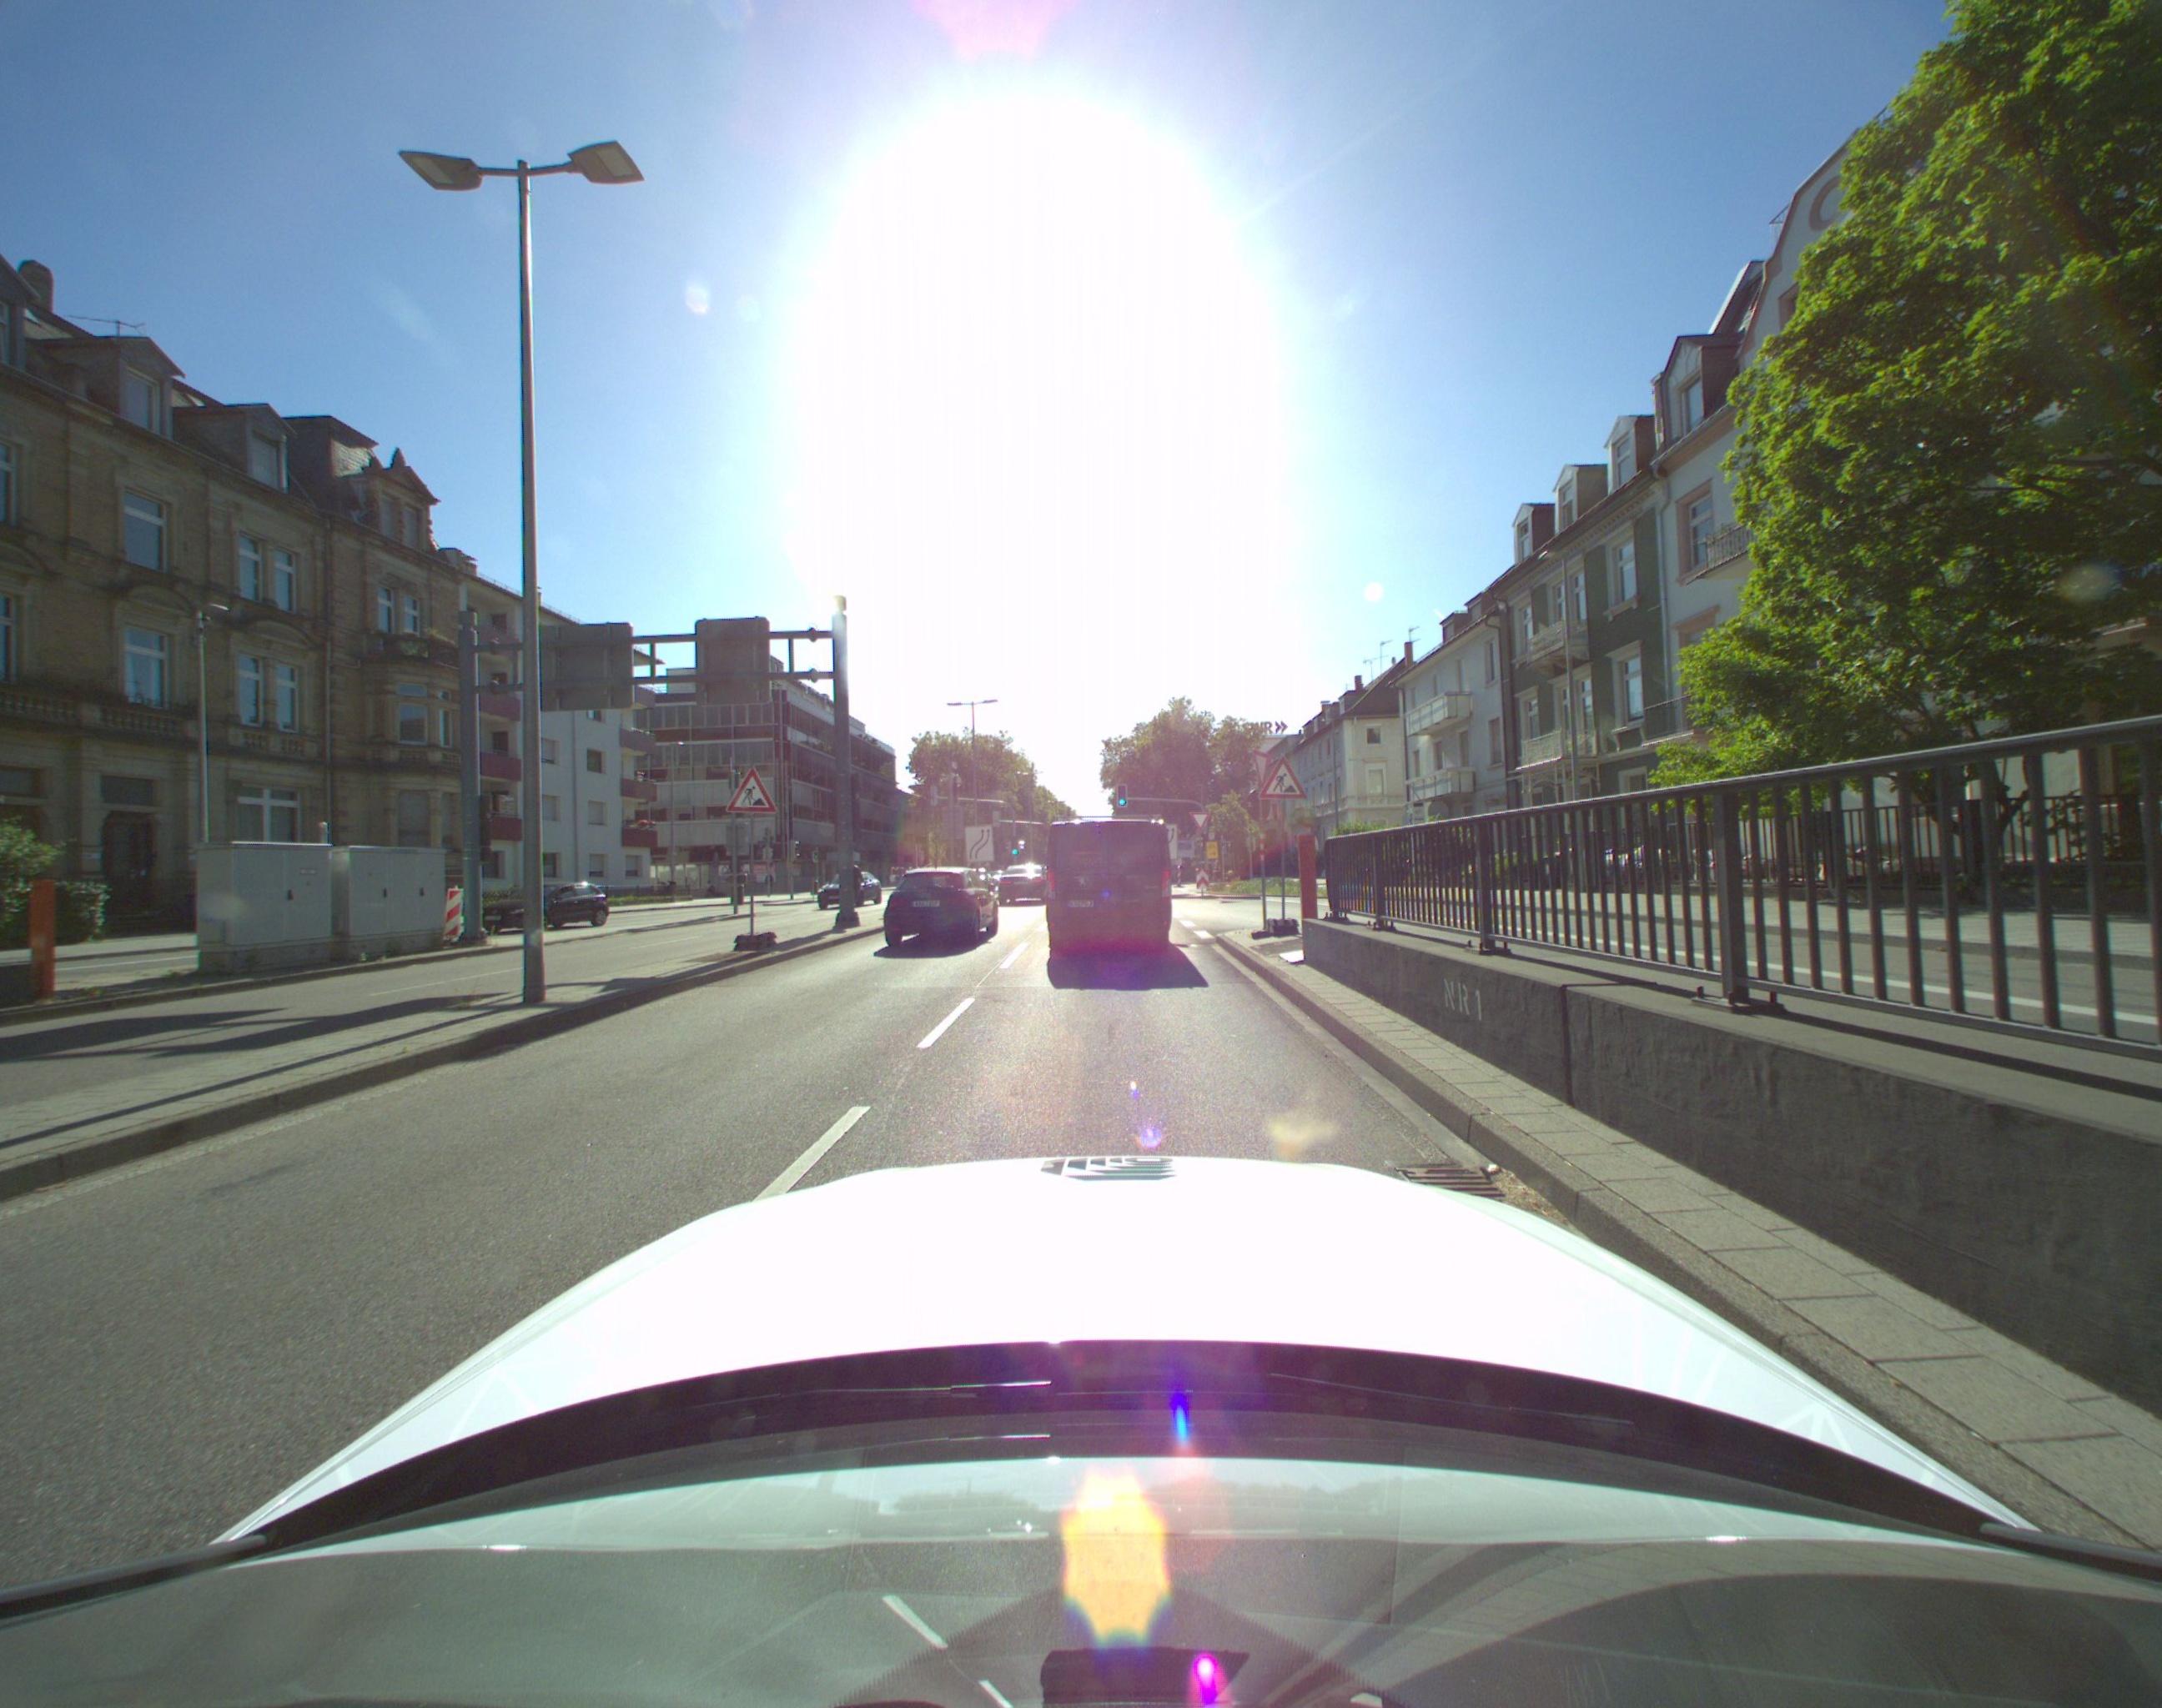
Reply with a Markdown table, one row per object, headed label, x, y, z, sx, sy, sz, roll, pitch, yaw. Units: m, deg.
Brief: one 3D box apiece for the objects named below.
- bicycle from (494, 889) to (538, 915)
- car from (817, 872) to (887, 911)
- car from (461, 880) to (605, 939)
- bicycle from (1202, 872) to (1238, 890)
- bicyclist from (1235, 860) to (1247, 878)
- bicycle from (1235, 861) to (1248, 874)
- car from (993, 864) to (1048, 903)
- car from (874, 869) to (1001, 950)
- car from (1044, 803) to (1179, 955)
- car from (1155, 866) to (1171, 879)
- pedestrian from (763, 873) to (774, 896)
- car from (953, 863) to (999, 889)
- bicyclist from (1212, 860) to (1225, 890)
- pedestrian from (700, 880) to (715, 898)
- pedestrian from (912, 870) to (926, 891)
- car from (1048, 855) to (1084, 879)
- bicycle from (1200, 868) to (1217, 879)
| label | x | y | z | sx | sy | sz | roll | pitch | yaw |
| --- | --- | --- | --- | --- | --- | --- | --- | --- | --- |
| bicycle | -22.519 | 1.894 | 32.512 | 0.303 | 0.958 | 1.941 | -2 | -1 | 3 |
| car | -10.096 | 1.622 | 36.213 | 1.601 | 1.441 | 4.313 | -5 | -1 | 2 |
| car | -16.518 | 1.634 | 24.803 | 1.620 | 1.438 | 3.694 | -3 | 0 | 4 |
| bicycle | 7.968 | 1.545 | 46.800 | 1.955 | 1.025 | 0.605 | 0 | -1 | 1 |
| bicyclist | 14.104 | 1.334 | 71.756 | 0.723 | 1.499 | 0.869 | -2 | -1 | -6 |
| bicycle | 14.117 | 1.188 | 71.753 | 0.687 | 1.098 | 1.683 | -2 | -1 | -6 |
| car | -2.251 | 1.083 | 31.188 | 1.740 | 1.407 | 4.000 | 0 | -1 | 1 |
| car | -2.704 | 1.033 | 16.241 | 1.740 | 1.407 | 4.000 | 0 | -2 | 1 |
| car | 0.549 | 0.415 | 14.809 | 2.087 | 2.355 | 3.934 | -1 | -1 | 2 |
| car | 10.406 | 2.352 | 102.992 | 1.756 | 1.508 | 4.253 | -1 | -1 | 2 |
| pedestrian | -22.995 | 2.217 | 59.914 | 0.702 | 1.658 | 0.739 | -1 | -1 | -28 |
| car | -6.614 | 1.358 | 51.863 | 1.985 | 1.453 | 4.623 | -1 | 0 | 4 |
| bicyclist | 7.907 | 1.196 | 46.864 | 0.601 | 1.708 | 0.859 | -2 | -1 | 2 |
| pedestrian | -24.660 | 2.335 | 53.741 | 0.717 | 1.153 | 0.786 | -1 | -1 | -10 |
| pedestrian | -14.076 | 2.291 | 70.775 | 0.859 | 1.711 | 1.015 | -2 | -1 | 10 |
| car | -0.888 | 0.792 | 50.410 | 1.903 | 1.444 | 4.606 | 0 | 0 | 3 |
| bicycle | 11.745 | 1.797 | 74.972 | 0.581 | 1.005 | 2.145 | -2 | -2 | 37 |
